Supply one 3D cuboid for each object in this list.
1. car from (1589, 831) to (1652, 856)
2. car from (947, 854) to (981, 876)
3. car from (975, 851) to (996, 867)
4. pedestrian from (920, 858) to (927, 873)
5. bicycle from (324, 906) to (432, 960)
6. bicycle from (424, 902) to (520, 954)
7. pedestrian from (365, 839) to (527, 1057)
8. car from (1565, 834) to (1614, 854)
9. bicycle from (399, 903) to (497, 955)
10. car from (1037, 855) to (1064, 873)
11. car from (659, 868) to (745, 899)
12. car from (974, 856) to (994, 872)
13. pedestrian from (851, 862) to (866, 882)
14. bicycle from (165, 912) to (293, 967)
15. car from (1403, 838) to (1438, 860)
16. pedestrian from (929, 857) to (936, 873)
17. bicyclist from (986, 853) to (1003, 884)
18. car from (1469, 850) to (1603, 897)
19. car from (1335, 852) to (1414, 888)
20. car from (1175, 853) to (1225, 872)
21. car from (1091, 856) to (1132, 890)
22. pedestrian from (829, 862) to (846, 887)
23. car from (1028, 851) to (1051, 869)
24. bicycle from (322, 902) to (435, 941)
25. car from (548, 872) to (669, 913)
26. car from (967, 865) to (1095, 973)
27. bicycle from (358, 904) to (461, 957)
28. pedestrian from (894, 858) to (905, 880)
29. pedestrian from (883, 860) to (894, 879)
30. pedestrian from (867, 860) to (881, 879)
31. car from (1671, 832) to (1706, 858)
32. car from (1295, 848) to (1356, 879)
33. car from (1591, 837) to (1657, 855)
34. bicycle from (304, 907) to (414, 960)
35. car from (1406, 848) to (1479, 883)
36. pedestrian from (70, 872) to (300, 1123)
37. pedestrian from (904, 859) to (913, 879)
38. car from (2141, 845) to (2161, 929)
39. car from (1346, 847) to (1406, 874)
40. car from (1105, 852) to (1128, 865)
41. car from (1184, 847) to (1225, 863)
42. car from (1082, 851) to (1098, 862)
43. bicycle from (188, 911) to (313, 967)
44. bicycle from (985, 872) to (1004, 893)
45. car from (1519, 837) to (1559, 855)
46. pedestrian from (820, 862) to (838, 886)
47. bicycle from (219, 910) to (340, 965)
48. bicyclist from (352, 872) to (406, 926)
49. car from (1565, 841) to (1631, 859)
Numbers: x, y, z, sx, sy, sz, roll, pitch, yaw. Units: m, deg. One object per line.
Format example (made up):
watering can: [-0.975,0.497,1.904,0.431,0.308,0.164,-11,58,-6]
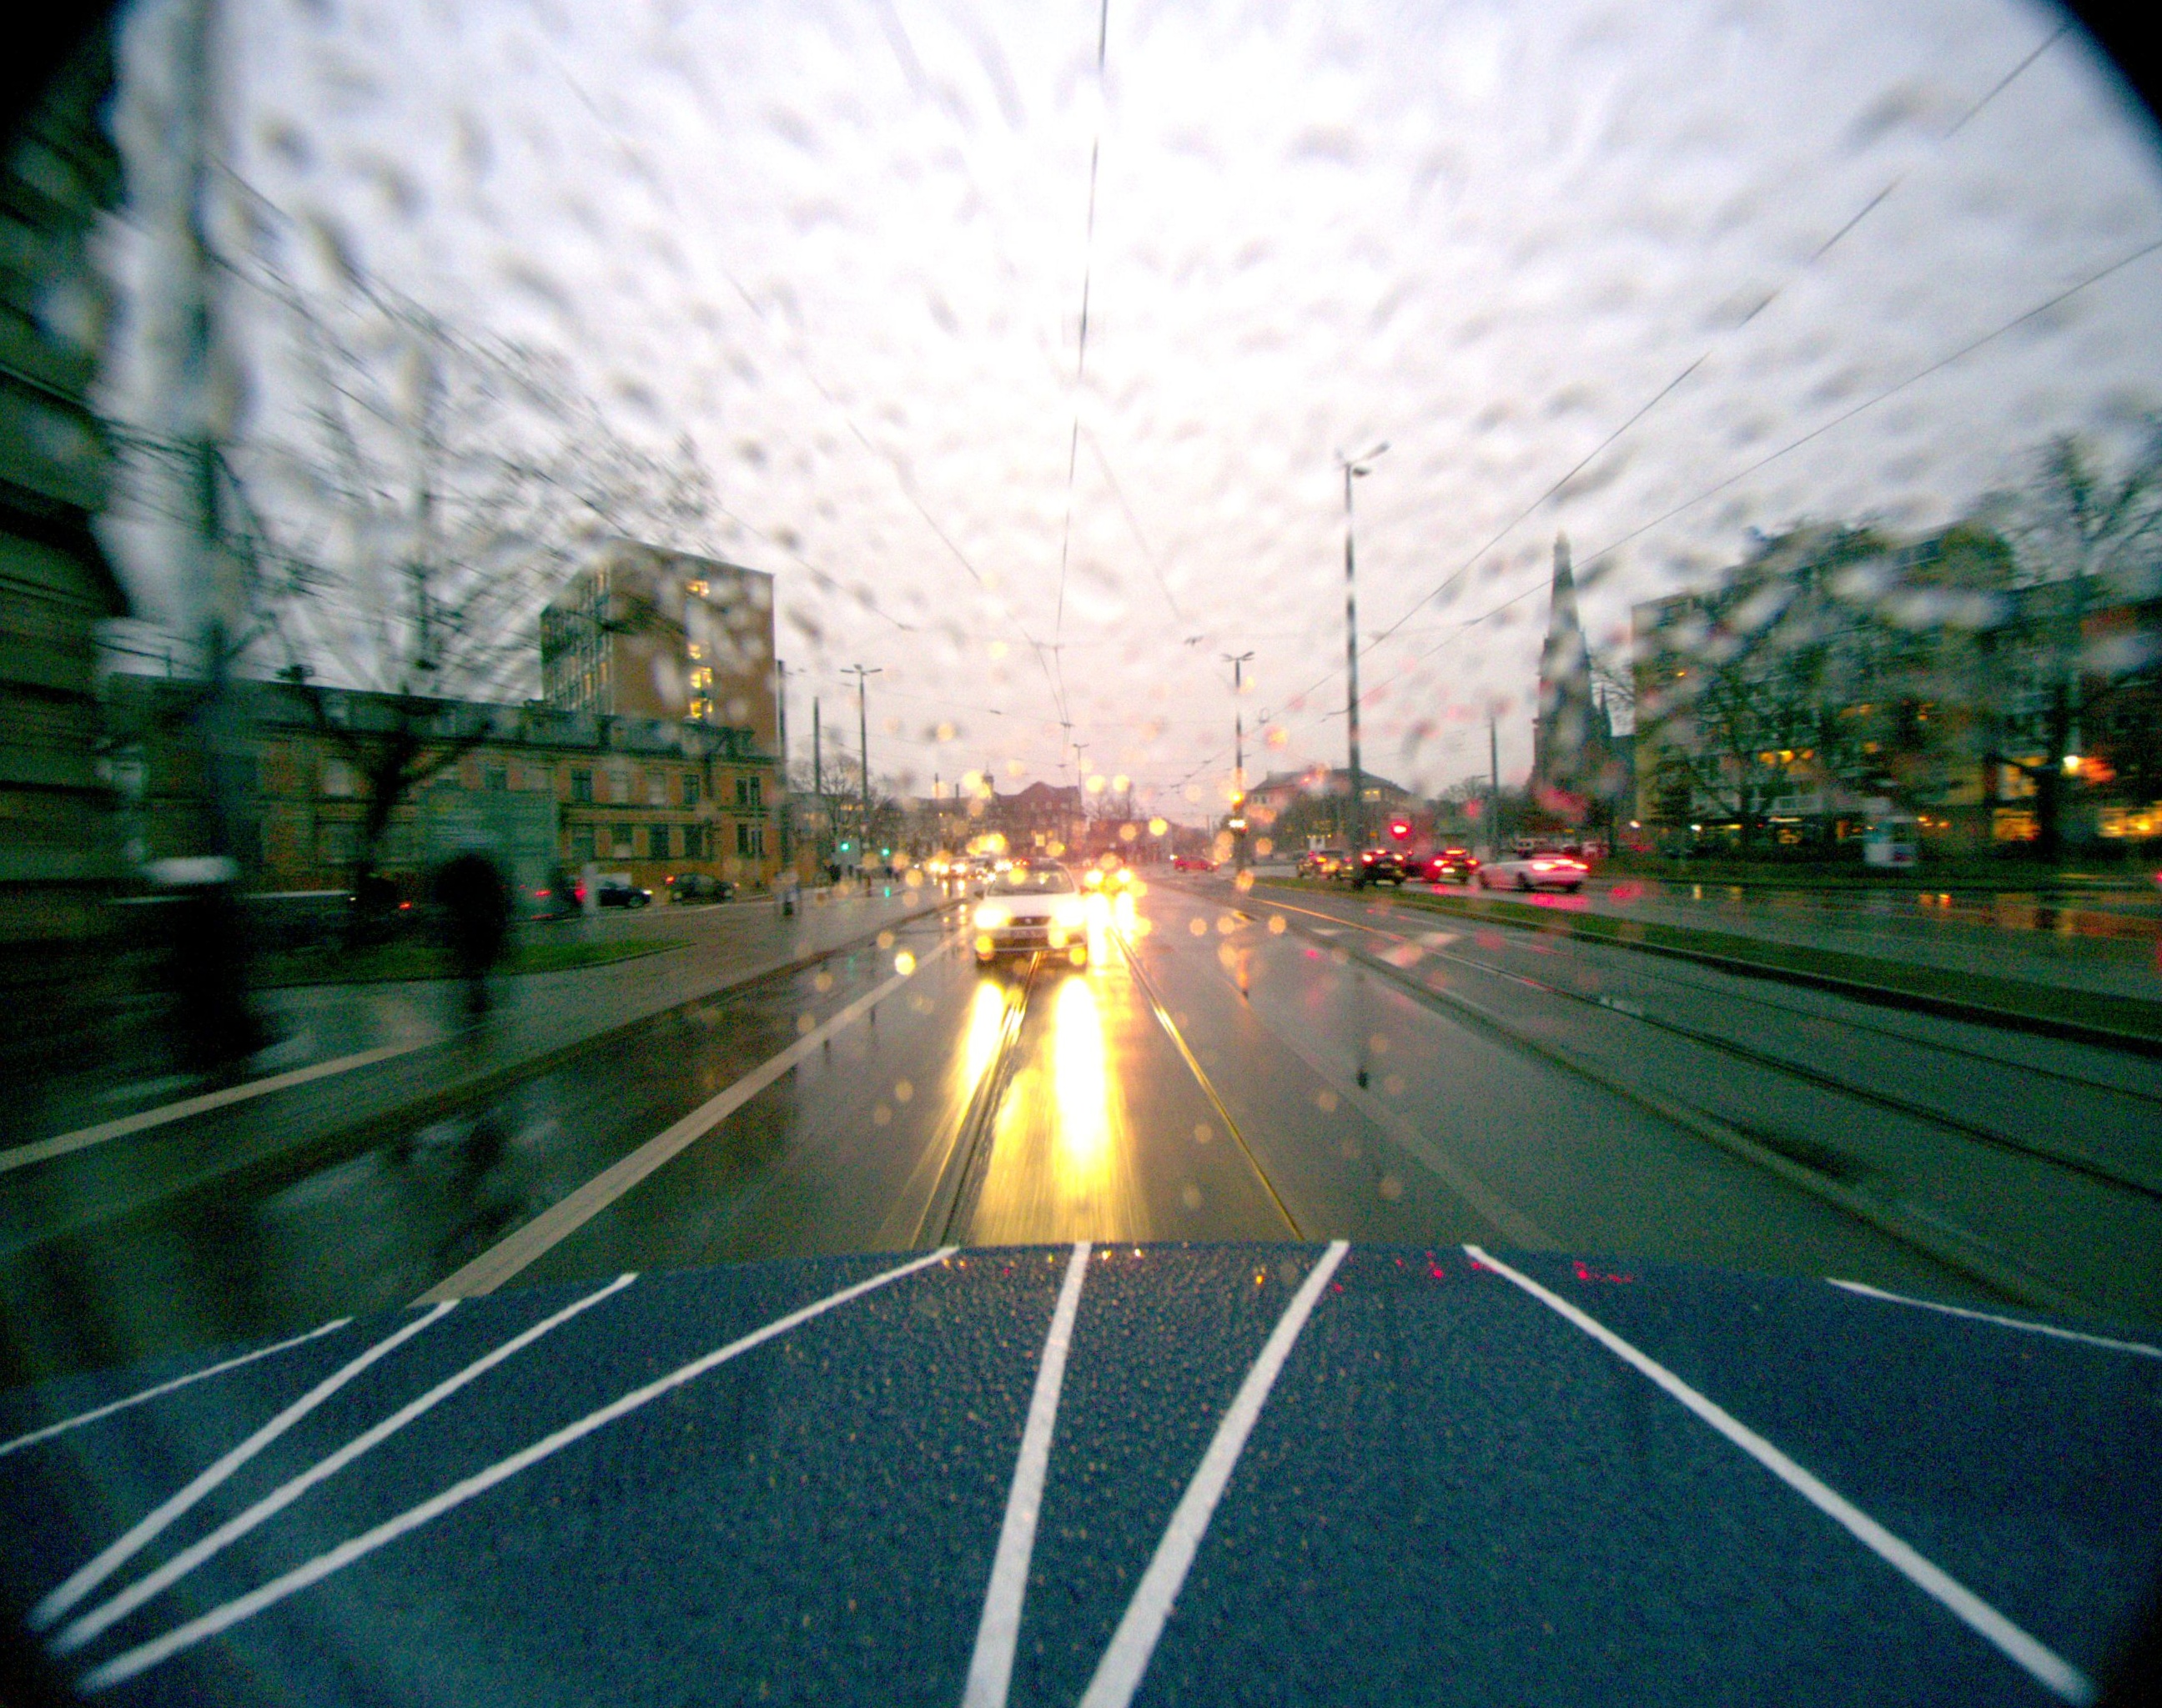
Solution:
car: [46.765,-0.905,65.937,2.003,2.002,3.989,-3,1,-37]
car: [-10.750,1.000,70.119,1.998,1.827,4.872,-2,0,5]
car: [-11.240,0.565,89.589,2.020,1.809,3.684,-2,1,-13]
pedestrian: [-17.550,1.282,84.768,0.638,1.752,0.510,-2,1,-13]
bicycle: [-15.162,1.674,16.471,0.455,0.948,1.944,-2,0,2]
bicycle: [-13.323,1.597,16.694,0.455,0.948,1.944,-2,0,2]
pedestrian: [-5.588,0.788,6.732,0.753,1.814,0.710,-2,1,2]
car: [53.468,-1.049,79.986,3.990,2.002,2.003,-2,1,25]
bicycle: [-13.861,1.620,16.705,0.455,0.948,1.944,-2,0,2]
car: [-2.773,0.864,68.844,1.826,1.565,3.996,-2,0,-11]
car: [-20.203,1.546,40.567,3.755,1.394,1.614,-4,2,-40]
car: [-10.100,1.029,79.152,1.829,1.499,3.801,-2,0,-10]
pedestrian: [-17.754,1.421,60.685,0.881,1.610,0.747,-2,1,-34]
bicycle: [-18.089,1.795,16.207,0.455,0.948,1.944,-2,0,2]
car: [33.533,-0.502,75.001,1.994,2.002,4.008,-1,1,42]
pedestrian: [-16.628,1.242,85.009,0.638,1.752,0.510,-2,1,-13]
bicyclist: [-4.405,0.732,38.690,0.727,1.525,0.785,-2,1,-1]
car: [15.597,0.599,26.368,1.998,1.413,4.588,-2,0,2]
car: [12.288,0.633,32.088,1.876,1.382,4.000,0,0,2]
car: [10.488,0.745,66.926,4.087,1.521,2.002,-2,1,18]
car: [1.393,0.852,35.802,1.797,1.415,4.000,-2,0,1]
pedestrian: [-15.583,1.310,48.692,0.821,1.610,0.747,-2,1,-33]
car: [-4.868,0.647,88.713,2.000,2.002,5.547,-2,1,-10]
bicycle: [-19.620,1.868,21.300,2.244,0.901,0.598,-2,1,-36]
car: [-21.784,1.726,35.121,4.396,1.579,1.885,-2,1,-43]
car: [-0.686,0.972,12.944,1.797,1.415,4.000,-2,0,1]
bicycle: [-14.648,1.651,16.648,0.455,0.948,1.944,-2,0,2]
pedestrian: [-15.813,1.309,66.265,0.651,1.811,0.637,-2,1,-34]
pedestrian: [-16.818,1.344,66.375,0.710,1.610,0.747,-2,1,-34]
pedestrian: [-17.919,1.356,65.760,0.881,1.610,0.747,-2,1,-34]
car: [49.211,-0.750,61.542,1.994,2.002,4.008,-1,1,41]
car: [12.497,0.457,39.103,1.904,1.477,4.000,-2,0,1]
car: [44.940,-0.626,62.946,2.003,1.302,3.989,-3,1,-37]
bicycle: [-15.703,1.697,16.599,0.455,0.948,1.944,-2,0,2]
car: [15.785,0.483,33.368,1.604,1.410,3.471,-2,0,2]
pedestrian: [-5.981,0.912,5.120,0.633,1.539,0.710,-2,1,2]
pedestrian: [-14.901,1.300,65.803,0.511,1.752,0.637,-2,1,-34]
car: [22.021,0.521,13.886,4.815,1.488,1.996,-2,1,-22]
car: [15.872,0.322,41.079,1.728,1.350,4.000,-2,0,1]
car: [4.862,0.644,104.437,2.000,1.688,4.477,-2,0,-12]
car: [13.567,0.109,83.702,2.004,1.543,3.989,-3,1,-41]
car: [1.274,0.374,110.950,1.999,1.433,4.481,-2,0,-3]
bicycle: [-17.565,1.776,16.140,0.455,0.948,1.944,-2,0,2]
bicycle: [-4.374,1.432,38.701,0.725,0.985,2.211,-2,0,-1]
car: [51.306,-0.903,85.124,4.574,1.783,1.821,-2,1,-30]
pedestrian: [-17.485,1.386,52.727,0.818,1.667,0.749,-2,1,10]
bicycle: [-17.046,1.752,16.236,0.455,0.948,1.944,-2,0,2]
bicyclist: [-19.630,1.240,21.272,1.009,1.434,0.590,-2,1,-36]
car: [42.063,-0.325,61.890,2.003,1.302,3.989,-3,1,-37]
